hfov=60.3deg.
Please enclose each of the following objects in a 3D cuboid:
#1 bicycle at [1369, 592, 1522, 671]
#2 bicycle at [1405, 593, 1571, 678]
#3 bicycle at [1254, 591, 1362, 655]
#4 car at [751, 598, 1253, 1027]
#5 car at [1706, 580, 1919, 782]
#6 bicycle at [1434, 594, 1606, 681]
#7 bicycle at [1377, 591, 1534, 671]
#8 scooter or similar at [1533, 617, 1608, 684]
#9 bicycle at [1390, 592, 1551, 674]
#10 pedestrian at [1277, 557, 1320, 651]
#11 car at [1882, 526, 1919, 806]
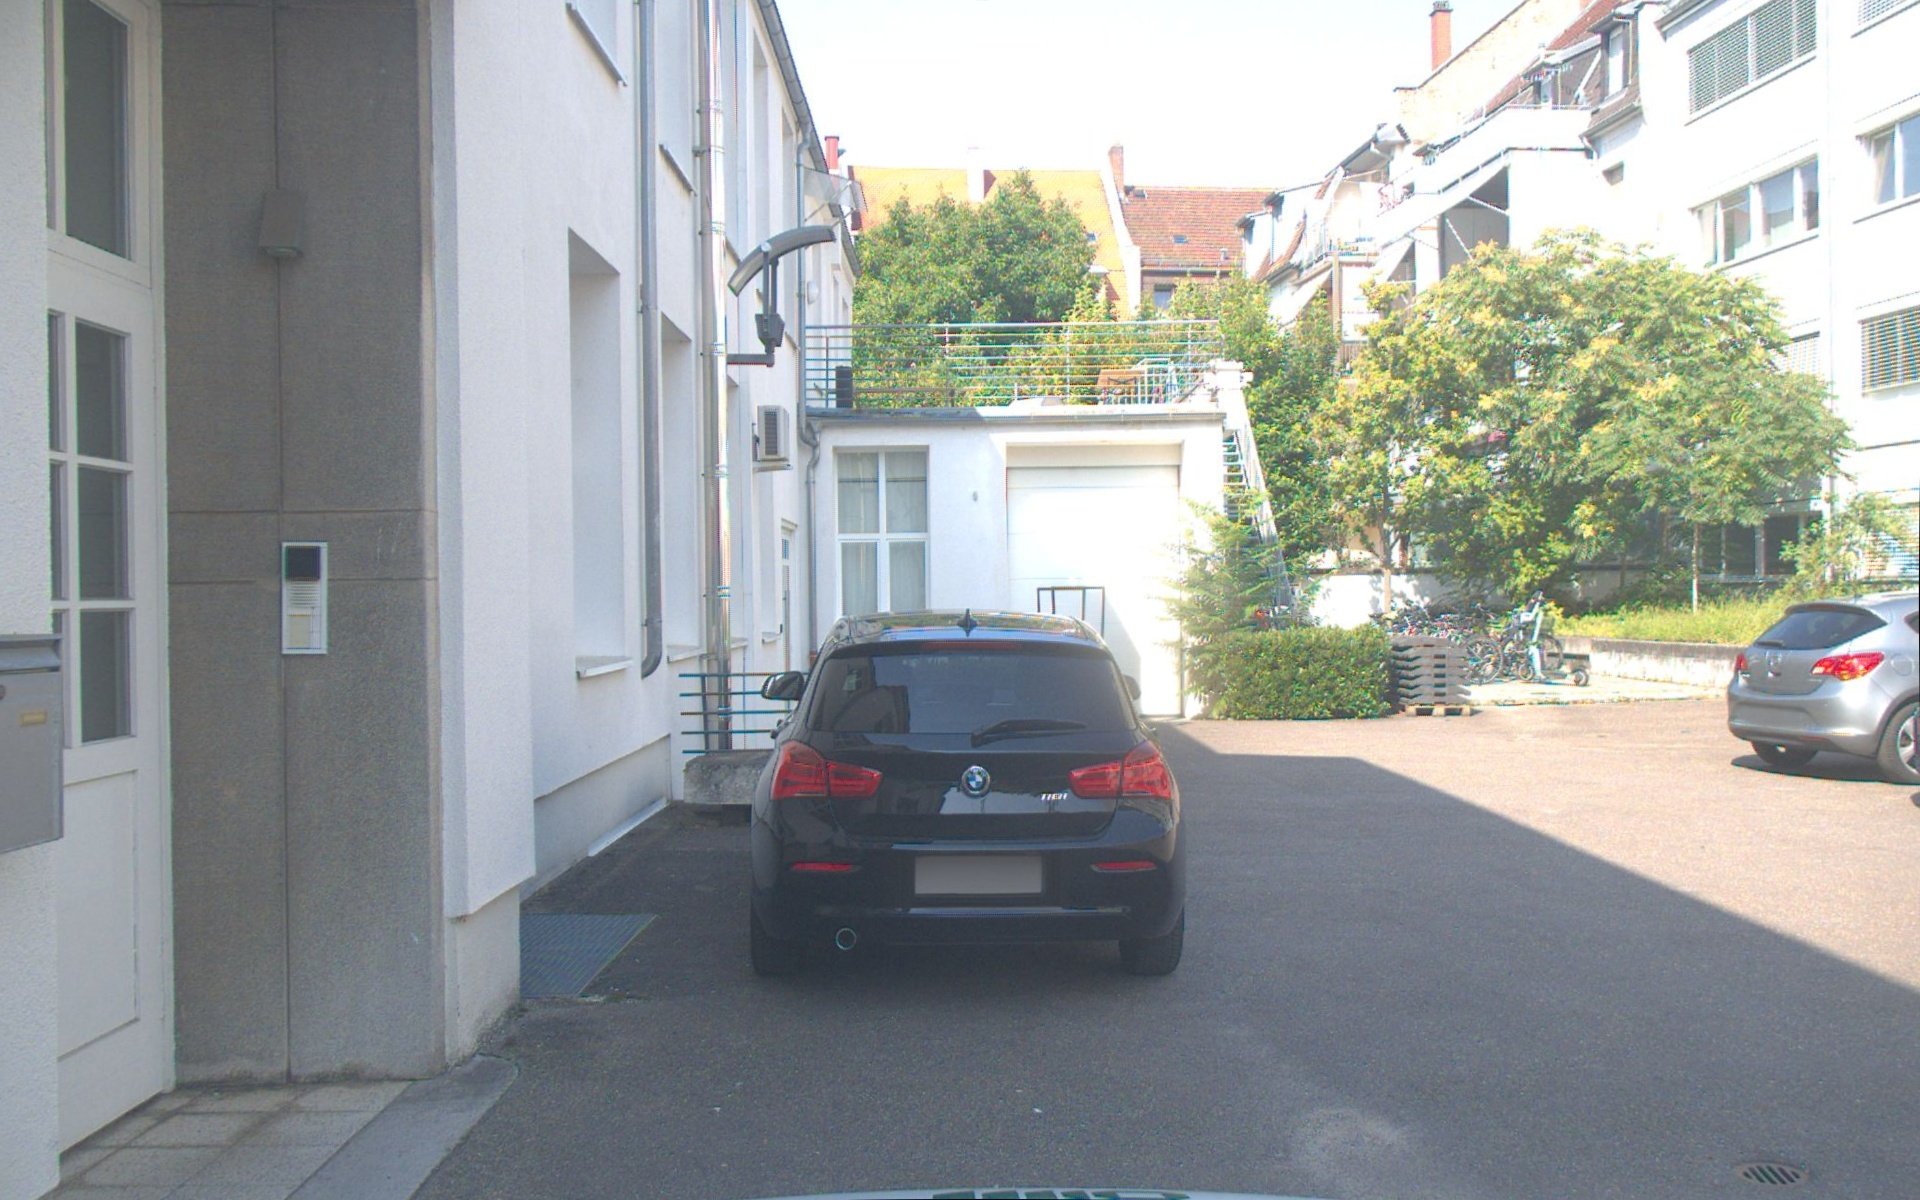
[{"bbox_3d":[7.994,0.511,27.267,2.361,1.268,0.526,0,0,0],"label":"bicycle"},{"bbox_3d":[8.041,0.529,25.209,2.361,1.268,0.526,0,0,0],"label":"bicycle"},{"bbox_3d":[6.745,0.441,32.090,1.948,1.163,0.489,-2,1,-4],"label":"bicycle"},{"bbox_3d":[0.064,0.735,7.854,1.757,1.453,4.134,0,0,-3],"label":"car"},{"bbox_3d":[8.455,0.582,13.842,3.830,1.491,1.657,-2,1,-14],"label":"car"},{"bbox_3d":[8.278,0.549,24.483,2.361,1.268,0.526,0,0,0],"label":"bicycle"},{"bbox_3d":[7.964,0.495,26.629,2.361,1.268,0.526,0,0,0],"label":"bicycle"},{"bbox_3d":[8.897,0.728,24.118,0.356,0.940,0.986,0,0,-37],"label":"scooter or similar"},{"bbox_3d":[8.009,0.514,25.971,2.361,1.268,0.526,0,0,0],"label":"bicycle"},{"bbox_3d":[6.618,0.075,32.317,0.597,1.802,0.860,0,0,-5],"label":"pedestrian"},{"bbox_3d":[8.666,0.397,10.909,4.256,1.891,1.910,-2,1,-10],"label":"car"}]
